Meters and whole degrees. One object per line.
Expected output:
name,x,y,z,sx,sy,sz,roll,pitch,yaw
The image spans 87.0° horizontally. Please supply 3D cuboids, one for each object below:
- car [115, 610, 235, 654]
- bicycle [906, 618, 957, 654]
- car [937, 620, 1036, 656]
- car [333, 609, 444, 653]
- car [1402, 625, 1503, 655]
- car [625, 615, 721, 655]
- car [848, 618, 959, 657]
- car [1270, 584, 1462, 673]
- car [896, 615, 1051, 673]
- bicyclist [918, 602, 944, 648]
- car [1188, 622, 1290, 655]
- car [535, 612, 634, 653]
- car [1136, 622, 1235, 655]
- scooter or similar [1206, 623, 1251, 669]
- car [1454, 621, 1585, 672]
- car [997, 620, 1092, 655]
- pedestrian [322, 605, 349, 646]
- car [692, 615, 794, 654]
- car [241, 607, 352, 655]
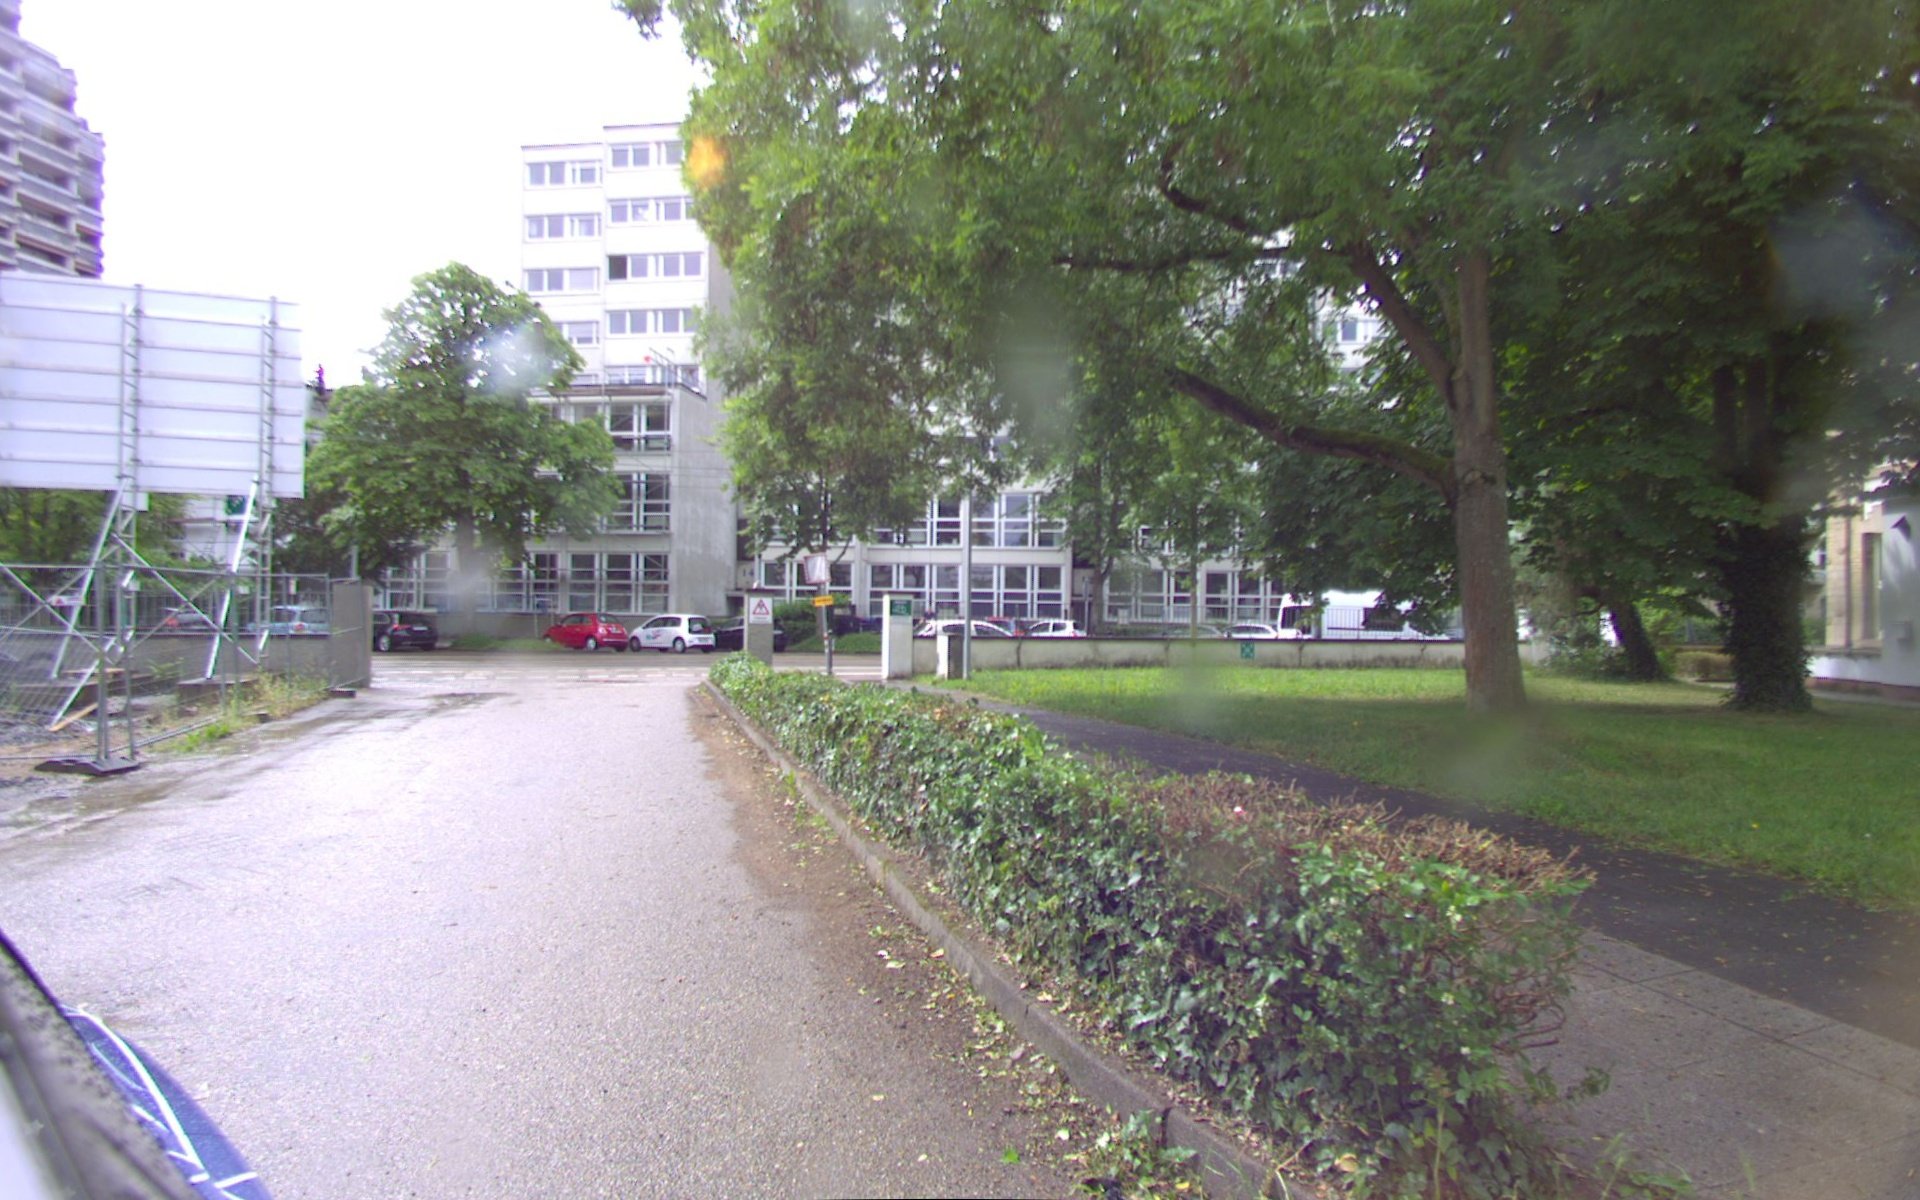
car,-26.724,1.072,34.457,3.629,1.408,1.754,0,-1,25
bicycle,-1.011,1.274,36.059,1.839,1.276,0.646,1,-3,-42
car,1.142,1.661,43.398,3.861,1.465,1.806,-2,-3,27
car,-20.335,1.086,36.000,3.632,1.480,1.726,0,-1,27
car,25.354,2.065,52.149,4.430,1.464,1.883,-2,-3,35
car,-11.149,1.340,39.270,3.394,1.463,1.693,0,-1,30
car,-2.408,1.635,42.890,4.347,1.567,1.862,-2,-3,26
car,12.293,0.902,30.701,5.182,2.529,2.147,1,-3,-19
car,0.338,1.182,26.949,3.767,1.471,1.695,1,-3,-19
bicyclist,-1.039,0.893,36.068,0.663,1.630,0.646,1,-3,-42
car,13.202,1.822,47.895,4.373,1.464,1.867,-2,-3,28
car,-14.374,1.257,38.738,3.391,1.481,1.726,0,-3,27
car,10.436,1.807,46.876,4.186,1.464,1.797,-2,-3,28
scooter or similar,7.725,1.321,29.131,0.420,1.286,1.149,5,-3,-43
car,18.044,1.494,32.680,3.313,1.562,1.920,1,-3,-17
car,3.747,1.694,44.981,3.861,1.465,1.762,-2,-3,27
pedestrian,-27.265,1.137,44.164,0.836,1.756,0.700,-2,-3,31
car,-8.743,1.374,40.694,3.968,1.492,1.796,-1,-2,34
car,-23.101,1.061,35.237,3.633,1.563,1.692,0,-1,28
